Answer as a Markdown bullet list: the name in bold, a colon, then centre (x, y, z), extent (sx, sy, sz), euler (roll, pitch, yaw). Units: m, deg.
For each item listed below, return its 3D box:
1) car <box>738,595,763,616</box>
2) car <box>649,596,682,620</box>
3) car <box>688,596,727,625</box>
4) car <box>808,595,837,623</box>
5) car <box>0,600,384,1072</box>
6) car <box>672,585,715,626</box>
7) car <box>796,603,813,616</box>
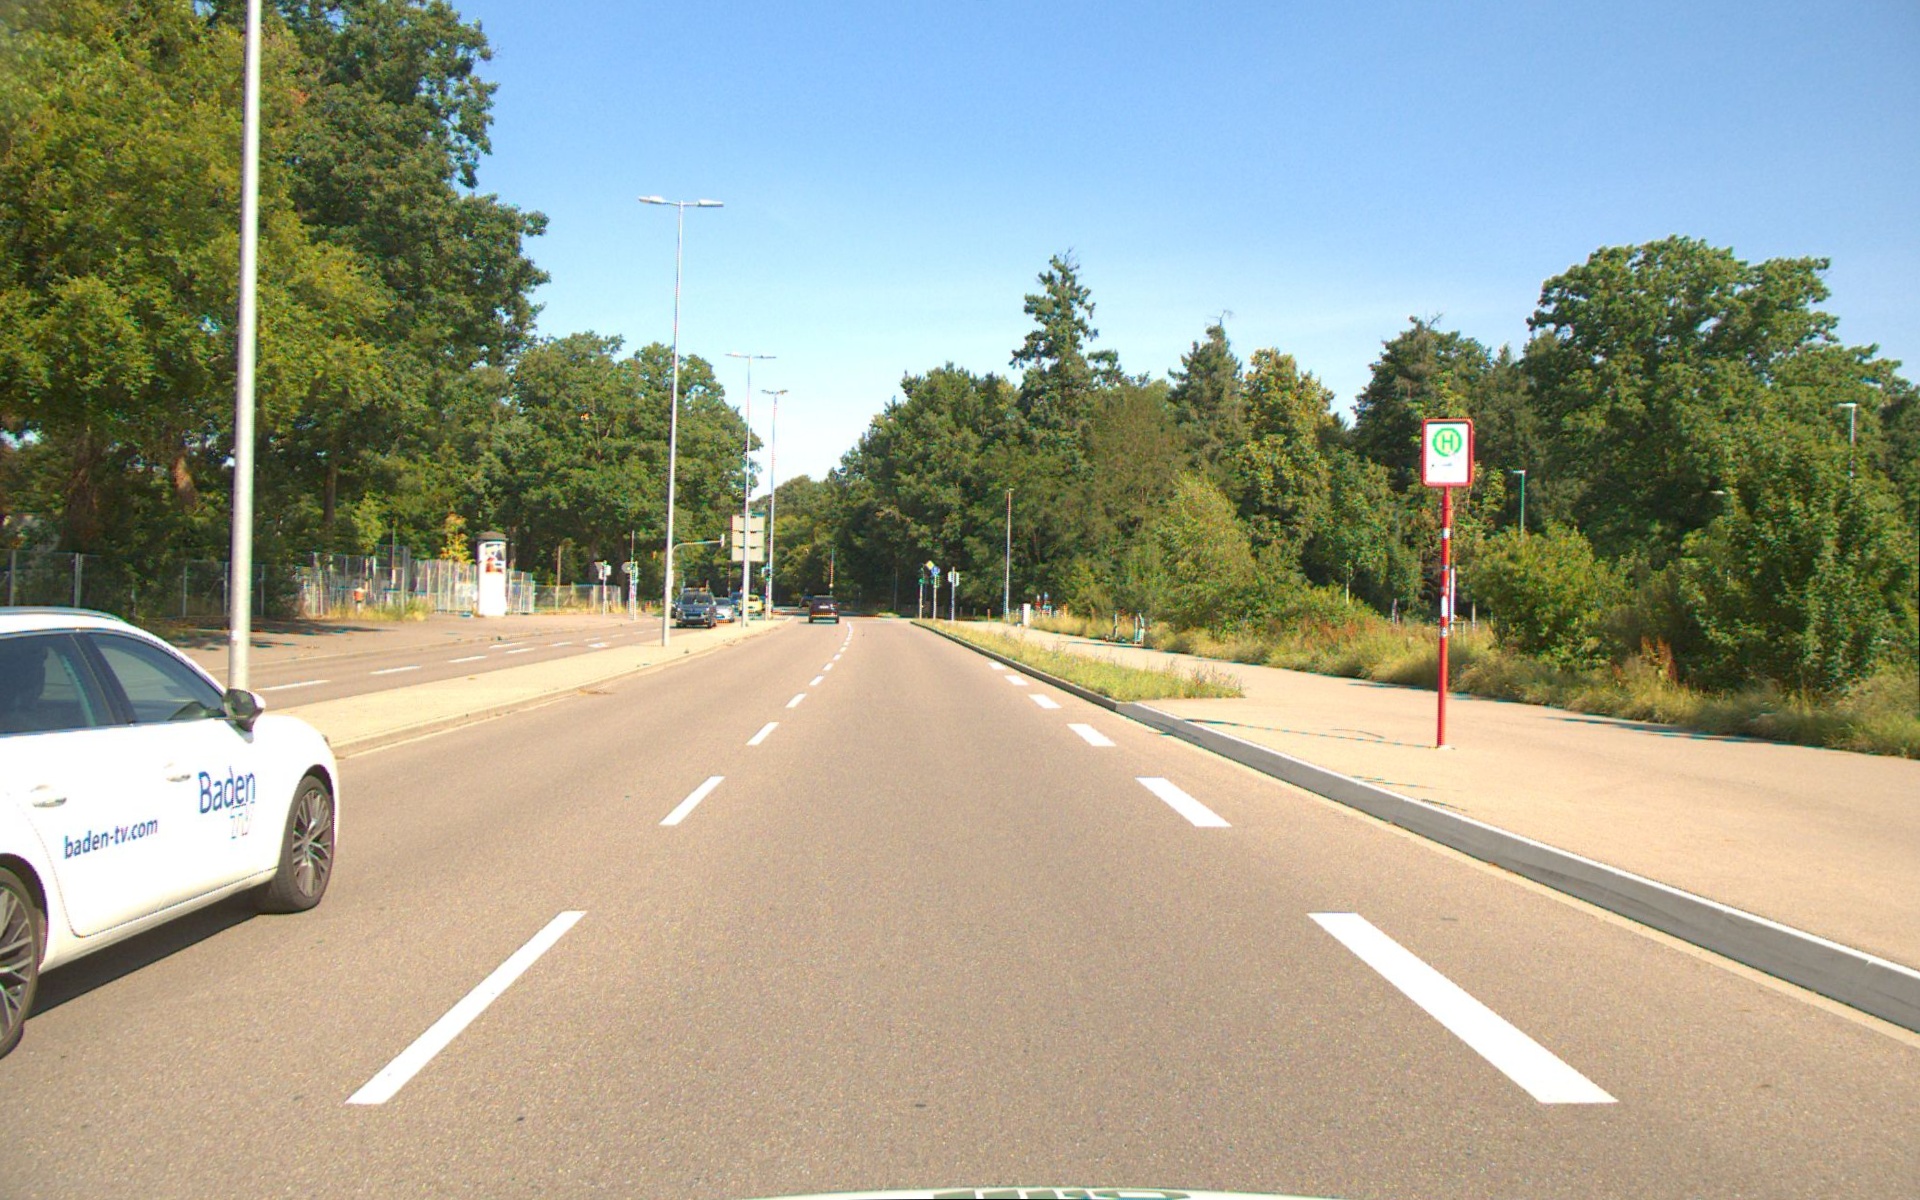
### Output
- **car**: centre (-16.896, 0.438, 133.471), extent (1.810, 1.646, 3.995), euler (2, 0, -6)
- **car**: centre (-19.558, 0.513, 109.932), extent (1.759, 1.504, 3.996), euler (2, 0, -5)
- **car**: centre (-14.783, 0.608, 96.847), extent (1.871, 1.612, 3.997), euler (2, 0, -4)
- **car**: centre (-8.023, 0.516, 96.731), extent (1.655, 1.571, 4.144), euler (0, 0, -5)
- **car**: centre (-3.858, 0.741, 6.332), extent (1.690, 1.451, 4.719), euler (0, 0, -1)
- **car**: centre (-13.304, 0.263, 82.842), extent (1.805, 1.966, 4.624), euler (0, 0, -5)
- **car**: centre (-19.003, 1.118, 201.617), extent (1.904, 1.445, 4.287), euler (1, 0, -7)
